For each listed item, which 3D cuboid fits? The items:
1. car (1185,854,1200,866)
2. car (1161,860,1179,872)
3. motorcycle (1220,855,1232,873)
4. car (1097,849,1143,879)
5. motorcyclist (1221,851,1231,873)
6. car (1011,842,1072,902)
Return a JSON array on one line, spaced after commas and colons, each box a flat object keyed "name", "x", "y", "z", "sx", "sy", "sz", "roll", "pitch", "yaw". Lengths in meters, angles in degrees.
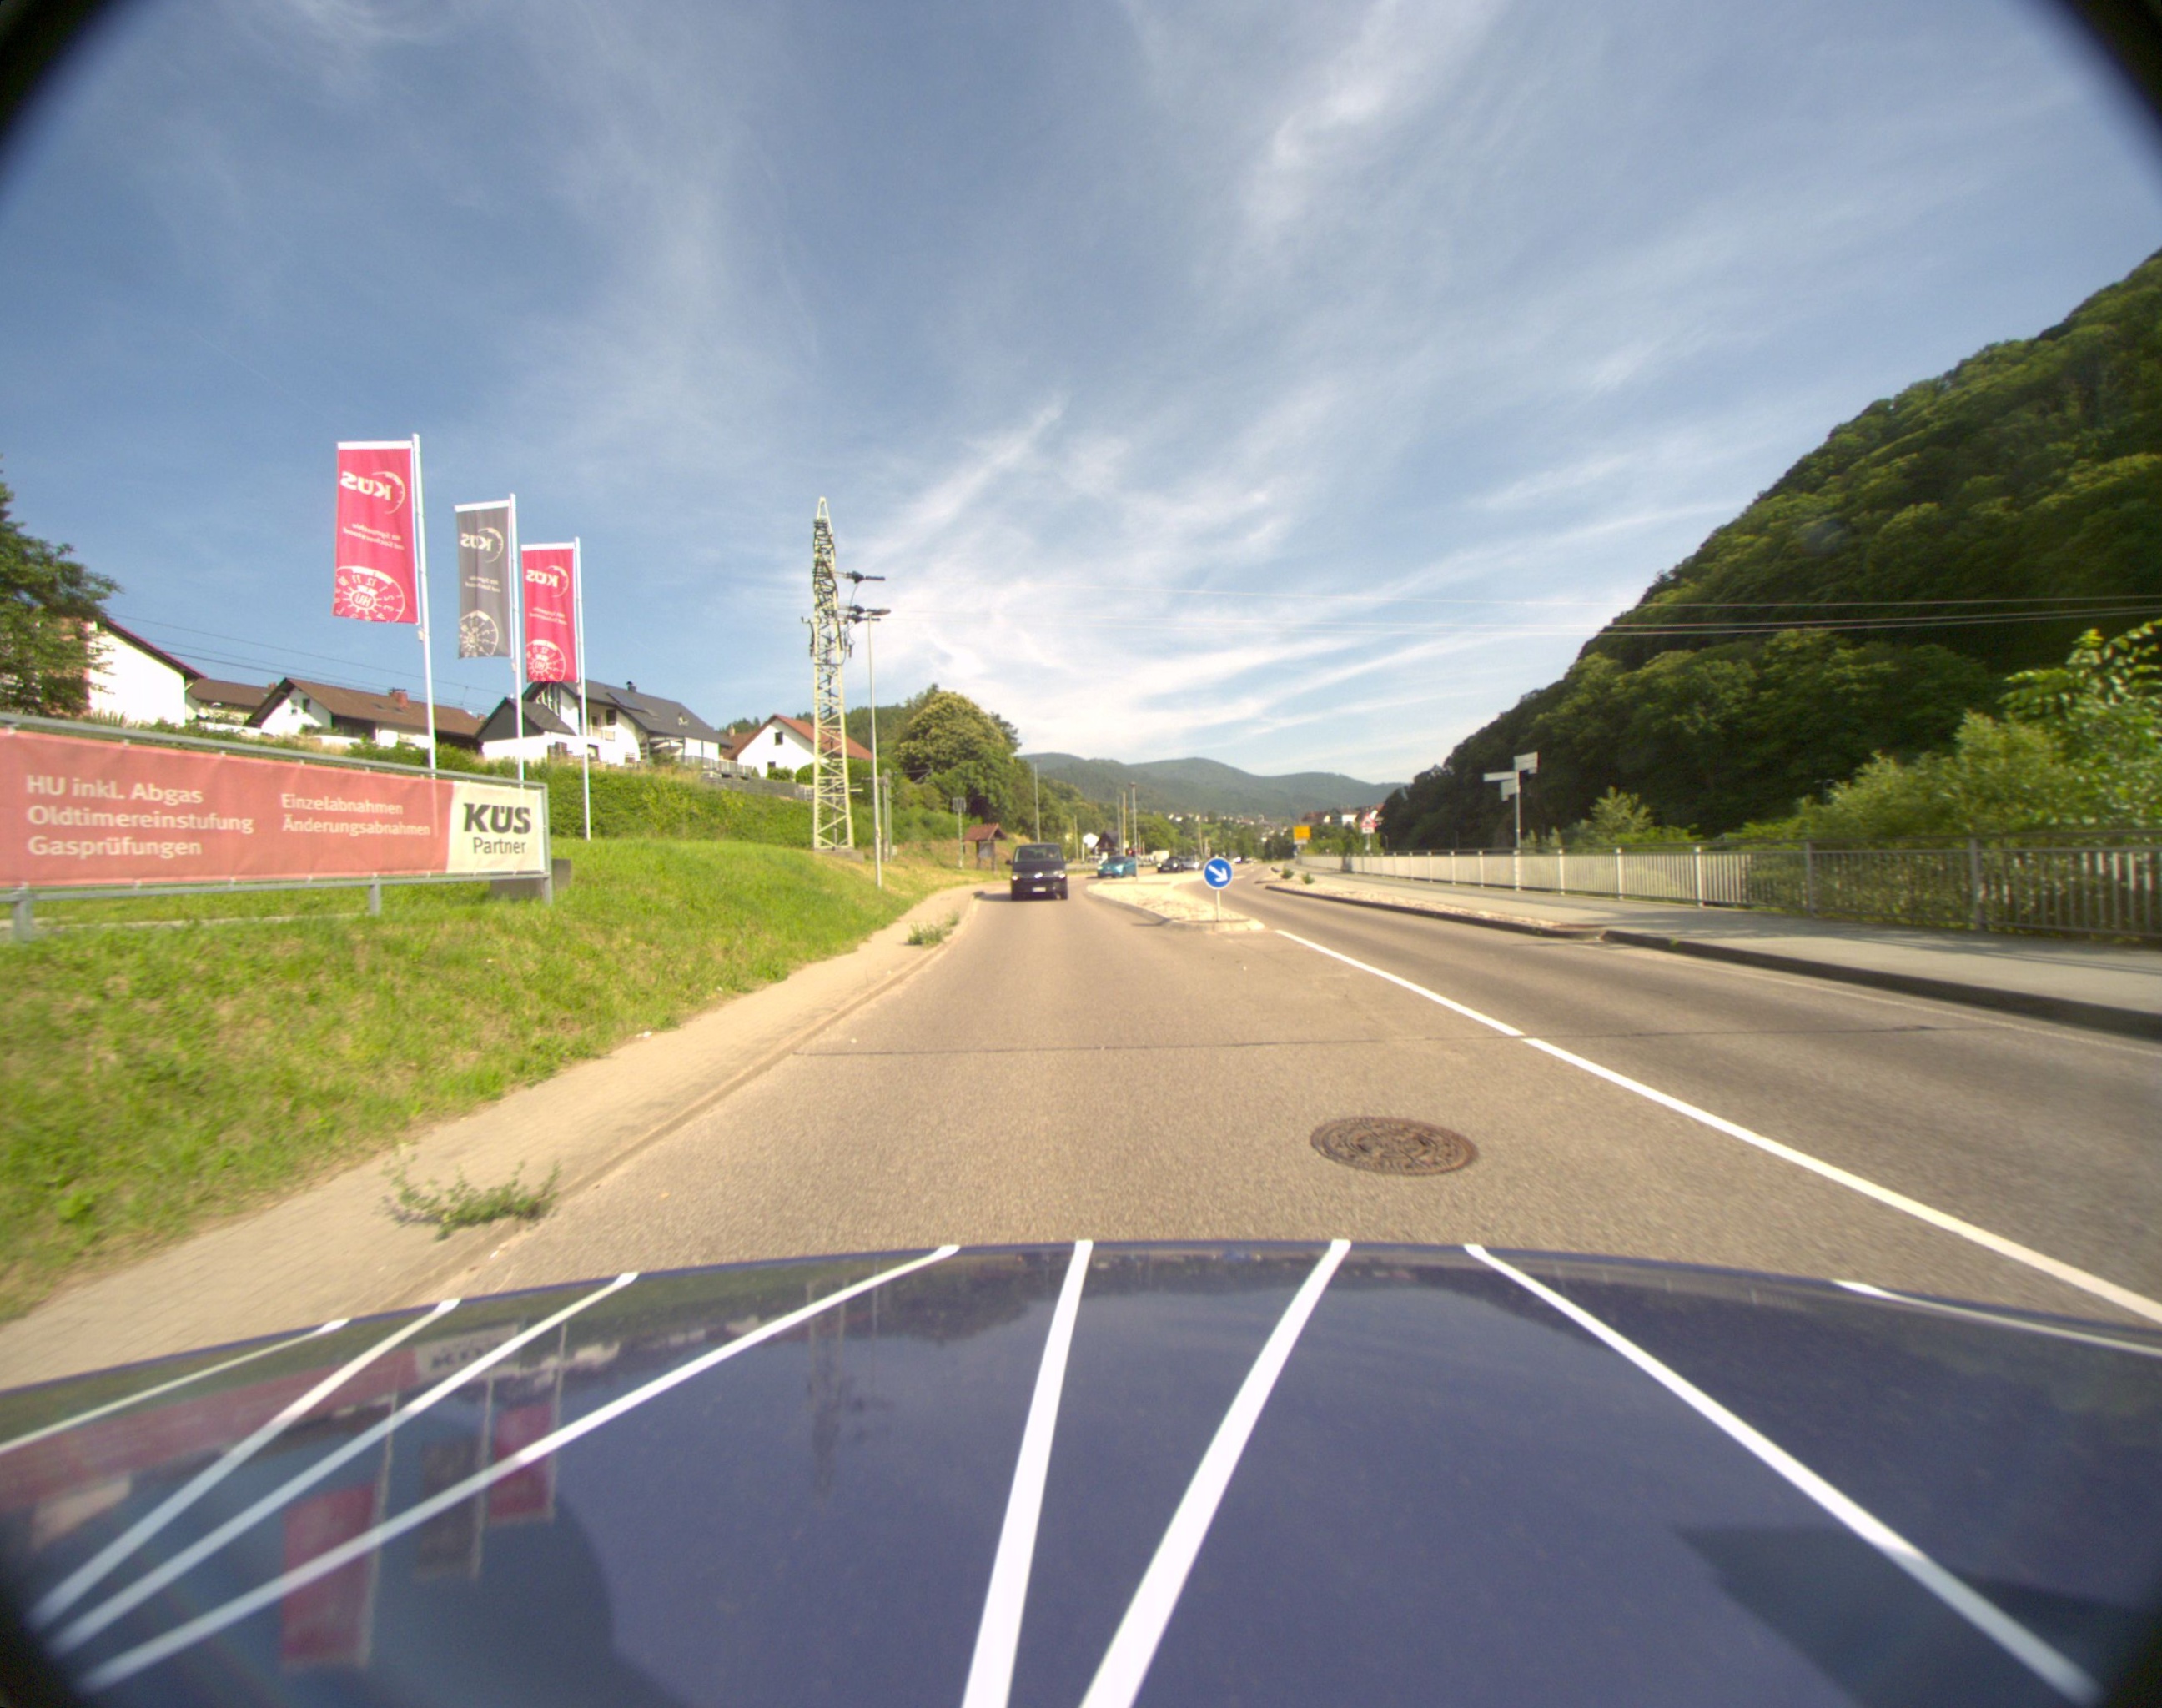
[{"name": "car", "x": 11.664, "y": 0.653, "z": 79.489, "sx": 1.271, "sy": 1.171, "sz": 3.126, "roll": -3, "pitch": -1, "yaw": 12}, {"name": "car", "x": 7.797, "y": 1.063, "z": 66.560, "sx": 1.304, "sy": 0.963, "sz": 3.208, "roll": -3, "pitch": -1, "yaw": 11}, {"name": "motorcycle", "x": 11.276, "y": 0.760, "z": 58.982, "sx": 0.774, "sy": 1.414, "sz": 2.320, "roll": -1, "pitch": 0, "yaw": 9}, {"name": "car", "x": 2.682, "y": 0.637, "z": 51.146, "sx": 1.880, "sy": 1.728, "sz": 4.520, "roll": -2, "pitch": 1, "yaw": 19}, {"name": "motorcyclist", "x": 11.274, "y": 0.649, "z": 59.048, "sx": 0.764, "sy": 1.668, "sz": 0.727, "roll": -1, "pitch": 1, "yaw": 9}, {"name": "car", "x": -1.312, "y": 0.585, "z": 26.896, "sx": 1.865, "sy": 1.936, "sz": 4.638, "roll": 1, "pitch": 0, "yaw": 0}]
